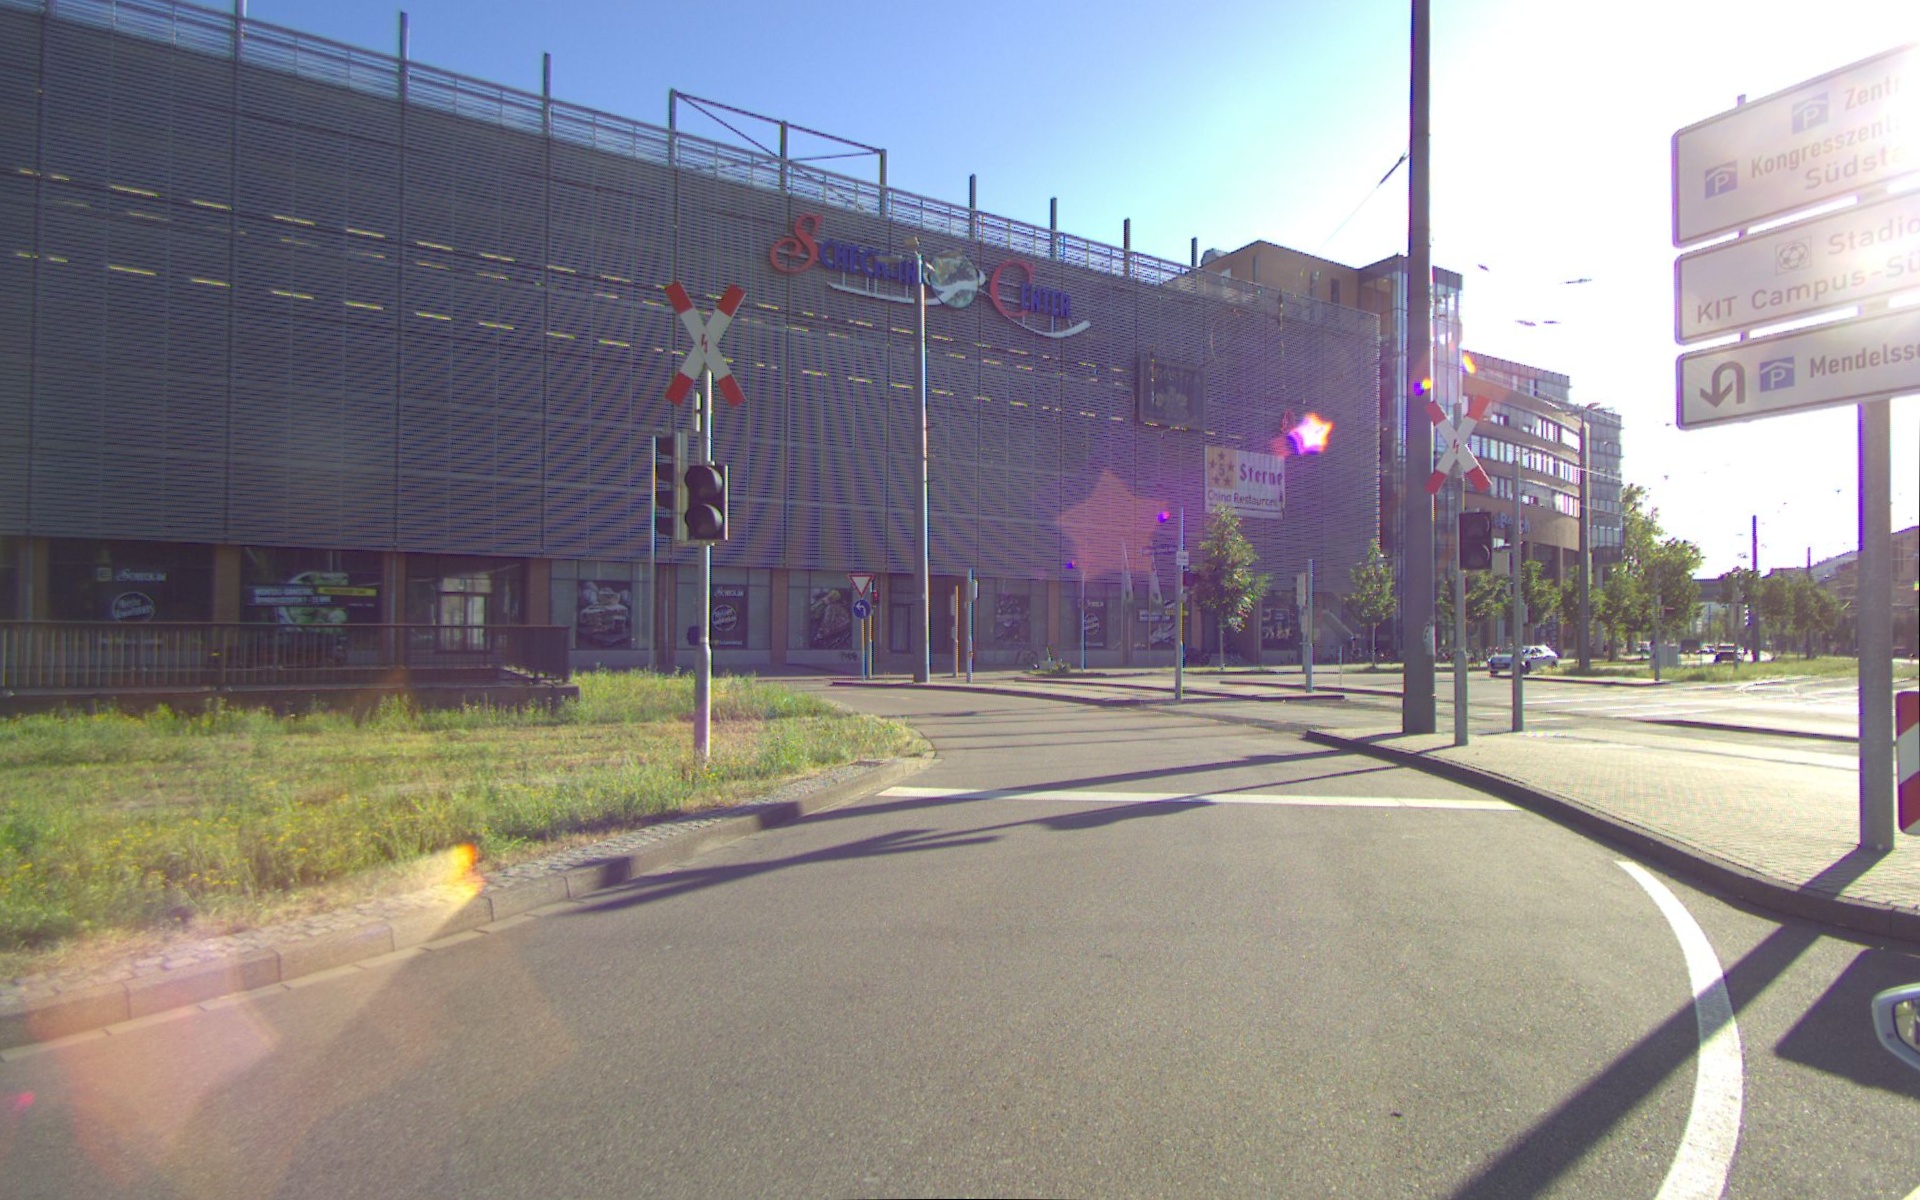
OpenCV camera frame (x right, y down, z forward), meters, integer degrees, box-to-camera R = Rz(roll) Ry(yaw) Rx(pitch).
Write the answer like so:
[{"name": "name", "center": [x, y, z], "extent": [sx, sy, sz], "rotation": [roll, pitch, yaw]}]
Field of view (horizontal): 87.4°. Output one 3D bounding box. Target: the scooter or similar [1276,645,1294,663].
[{"name": "scooter or similar", "center": [20.532, 3.419, 63.411], "extent": [1.138, 1.124, 0.419], "rotation": [3, -4, -30]}]

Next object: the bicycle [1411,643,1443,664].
[{"name": "bicycle", "center": [33.794, 3.869, 72.683], "extent": [0.848, 1.452, 2.080], "rotation": [2, -3, -21]}]

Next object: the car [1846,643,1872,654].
[{"name": "car", "center": [141.648, 7.677, 158.258], "extent": [1.963, 1.661, 4.408], "rotation": [0, -2, 26]}]

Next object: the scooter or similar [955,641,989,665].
[{"name": "scooter or similar", "center": [0.631, 2.735, 51.795], "extent": [1.555, 1.222, 0.790], "rotation": [3, -4, -29]}]

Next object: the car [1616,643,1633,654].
[{"name": "car", "center": [129.665, 9.460, 196.107], "extent": [1.961, 2.040, 4.000], "rotation": [-1, -2, 21]}]

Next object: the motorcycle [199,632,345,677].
[{"name": "motorcycle", "center": [-23.557, 1.843, 34.572], "extent": [3.953, 1.472, 1.984], "rotation": [1, -2, -30]}]

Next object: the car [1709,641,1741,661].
[{"name": "car", "center": [67.079, 4.431, 88.067], "extent": [1.971, 1.661, 4.389], "rotation": [-1, -2, 41]}]

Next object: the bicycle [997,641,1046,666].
[{"name": "bicycle", "center": [3.141, 2.724, 51.142], "extent": [2.384, 1.236, 0.797], "rotation": [2, -2, -27]}]

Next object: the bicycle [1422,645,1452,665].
[{"name": "bicycle", "center": [34.757, 4.014, 73.199], "extent": [0.795, 1.452, 1.975], "rotation": [2, -3, -21]}]

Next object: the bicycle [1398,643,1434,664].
[{"name": "bicycle", "center": [32.801, 3.868, 72.287], "extent": [1.060, 1.452, 2.367], "rotation": [2, -3, -21]}]

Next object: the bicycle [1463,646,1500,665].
[{"name": "bicycle", "center": [39.705, 4.207, 76.565], "extent": [0.891, 1.452, 2.558], "rotation": [2, -3, -21]}]

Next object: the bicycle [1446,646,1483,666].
[{"name": "bicycle", "center": [37.642, 4.138, 74.940], "extent": [0.891, 1.452, 2.558], "rotation": [2, -3, -21]}]

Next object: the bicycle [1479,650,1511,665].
[{"name": "bicycle", "center": [44.597, 4.805, 83.764], "extent": [0.734, 1.252, 2.411], "rotation": [2, -3, -21]}]

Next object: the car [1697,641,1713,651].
[{"name": "car", "center": [135.731, 8.355, 183.062], "extent": [1.965, 1.706, 3.992], "rotation": [-1, -3, 31]}]

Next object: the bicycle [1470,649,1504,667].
[{"name": "bicycle", "center": [43.460, 4.807, 82.901], "extent": [0.760, 1.452, 2.604], "rotation": [2, -3, -21]}]

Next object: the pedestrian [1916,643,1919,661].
[{"name": "pedestrian", "center": [100.841, 5.435, 105.232], "extent": [0.892, 1.848, 0.824], "rotation": [-2, -4, 43]}]

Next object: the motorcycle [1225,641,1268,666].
[{"name": "motorcycle", "center": [17.545, 3.289, 61.490], "extent": [2.582, 1.465, 0.963], "rotation": [2, -2, -27]}]

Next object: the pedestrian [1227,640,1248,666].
[{"name": "pedestrian", "center": [17.386, 3.316, 63.015], "extent": [0.819, 1.586, 0.983], "rotation": [3, -4, -30]}]

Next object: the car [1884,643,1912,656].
[{"name": "car", "center": [128.612, 6.785, 137.714], "extent": [3.959, 1.728, 1.982], "rotation": [3, -3, -34]}]

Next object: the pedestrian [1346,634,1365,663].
[{"name": "pedestrian", "center": [26.015, 3.182, 66.082], "extent": [0.894, 1.848, 0.823], "rotation": [3, -3, -29]}]

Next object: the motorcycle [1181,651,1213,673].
[{"name": "motorcycle", "center": [13.641, 3.552, 57.724], "extent": [1.872, 1.254, 0.672], "rotation": [3, -3, -31]}]

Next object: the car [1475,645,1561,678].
[{"name": "car", "center": [27.933, 3.051, 50.281], "extent": [4.483, 1.566, 1.981], "rotation": [2, -2, -34]}]
